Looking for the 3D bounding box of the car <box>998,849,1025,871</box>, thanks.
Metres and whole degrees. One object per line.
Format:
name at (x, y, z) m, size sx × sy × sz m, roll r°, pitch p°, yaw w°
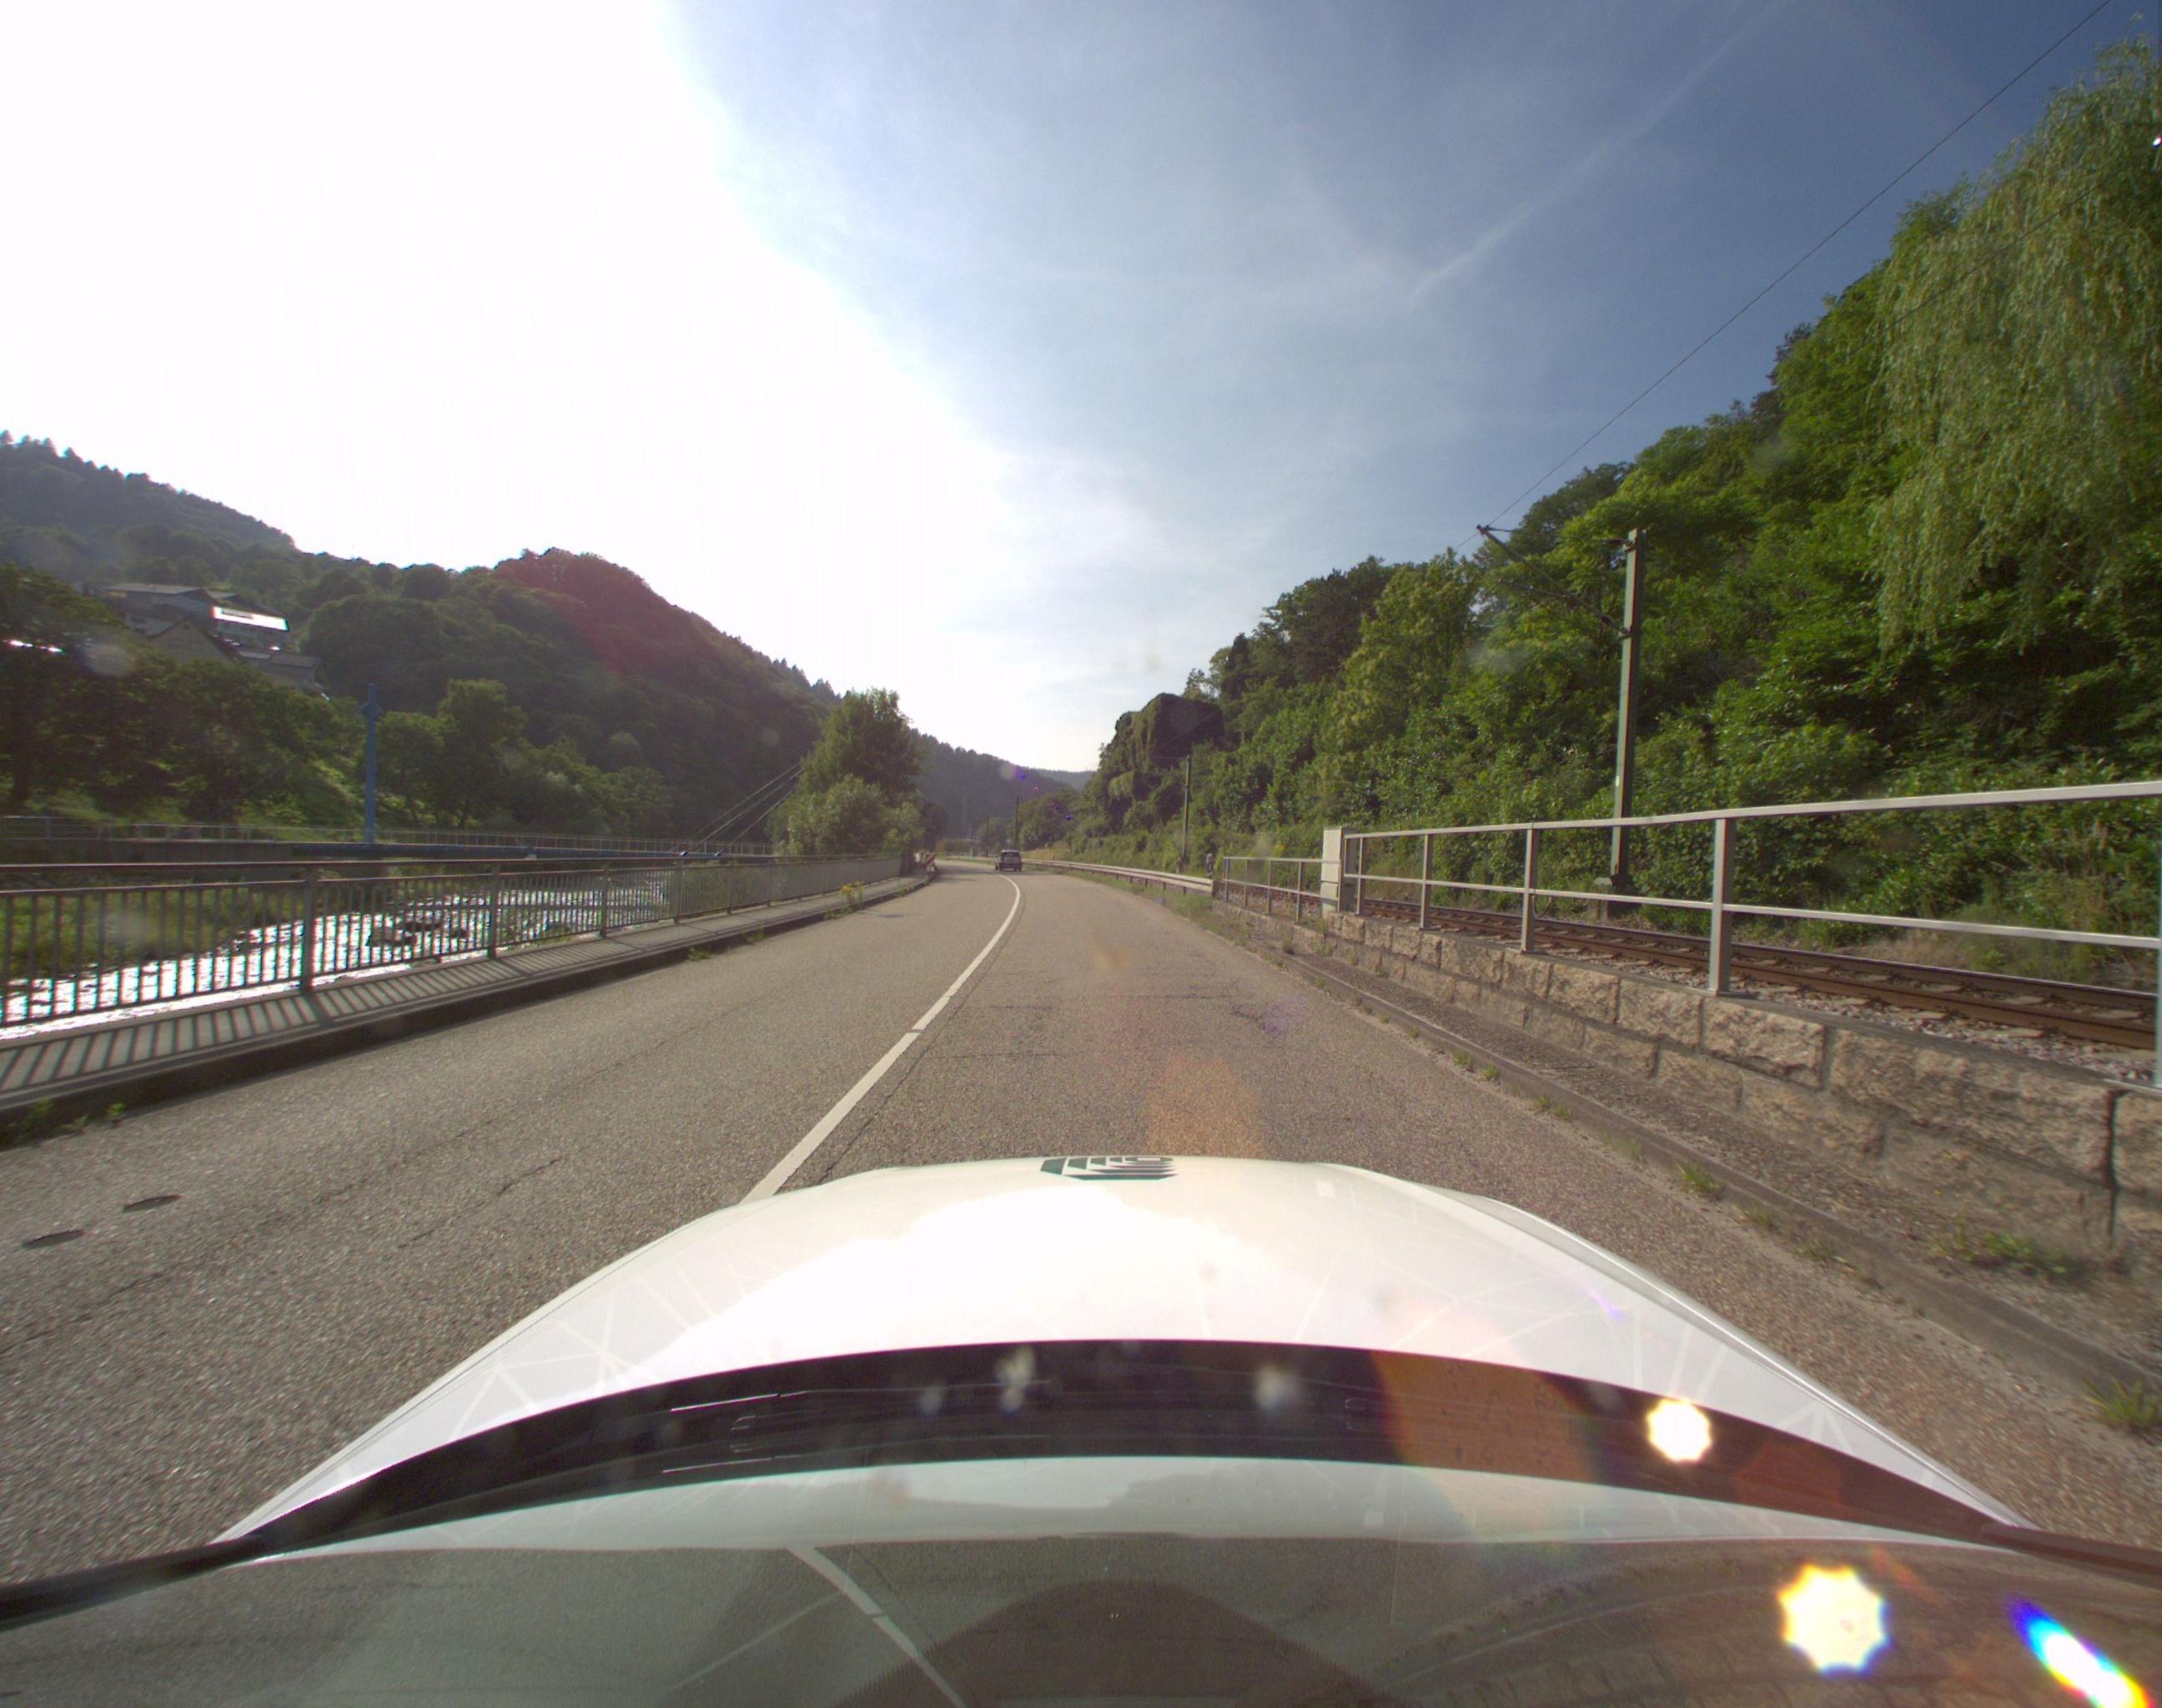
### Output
car at (-5.595, 0.492, 65.160) m, size 1.872 × 1.656 × 3.987 m, roll 0°, pitch -1°, yaw -9°
